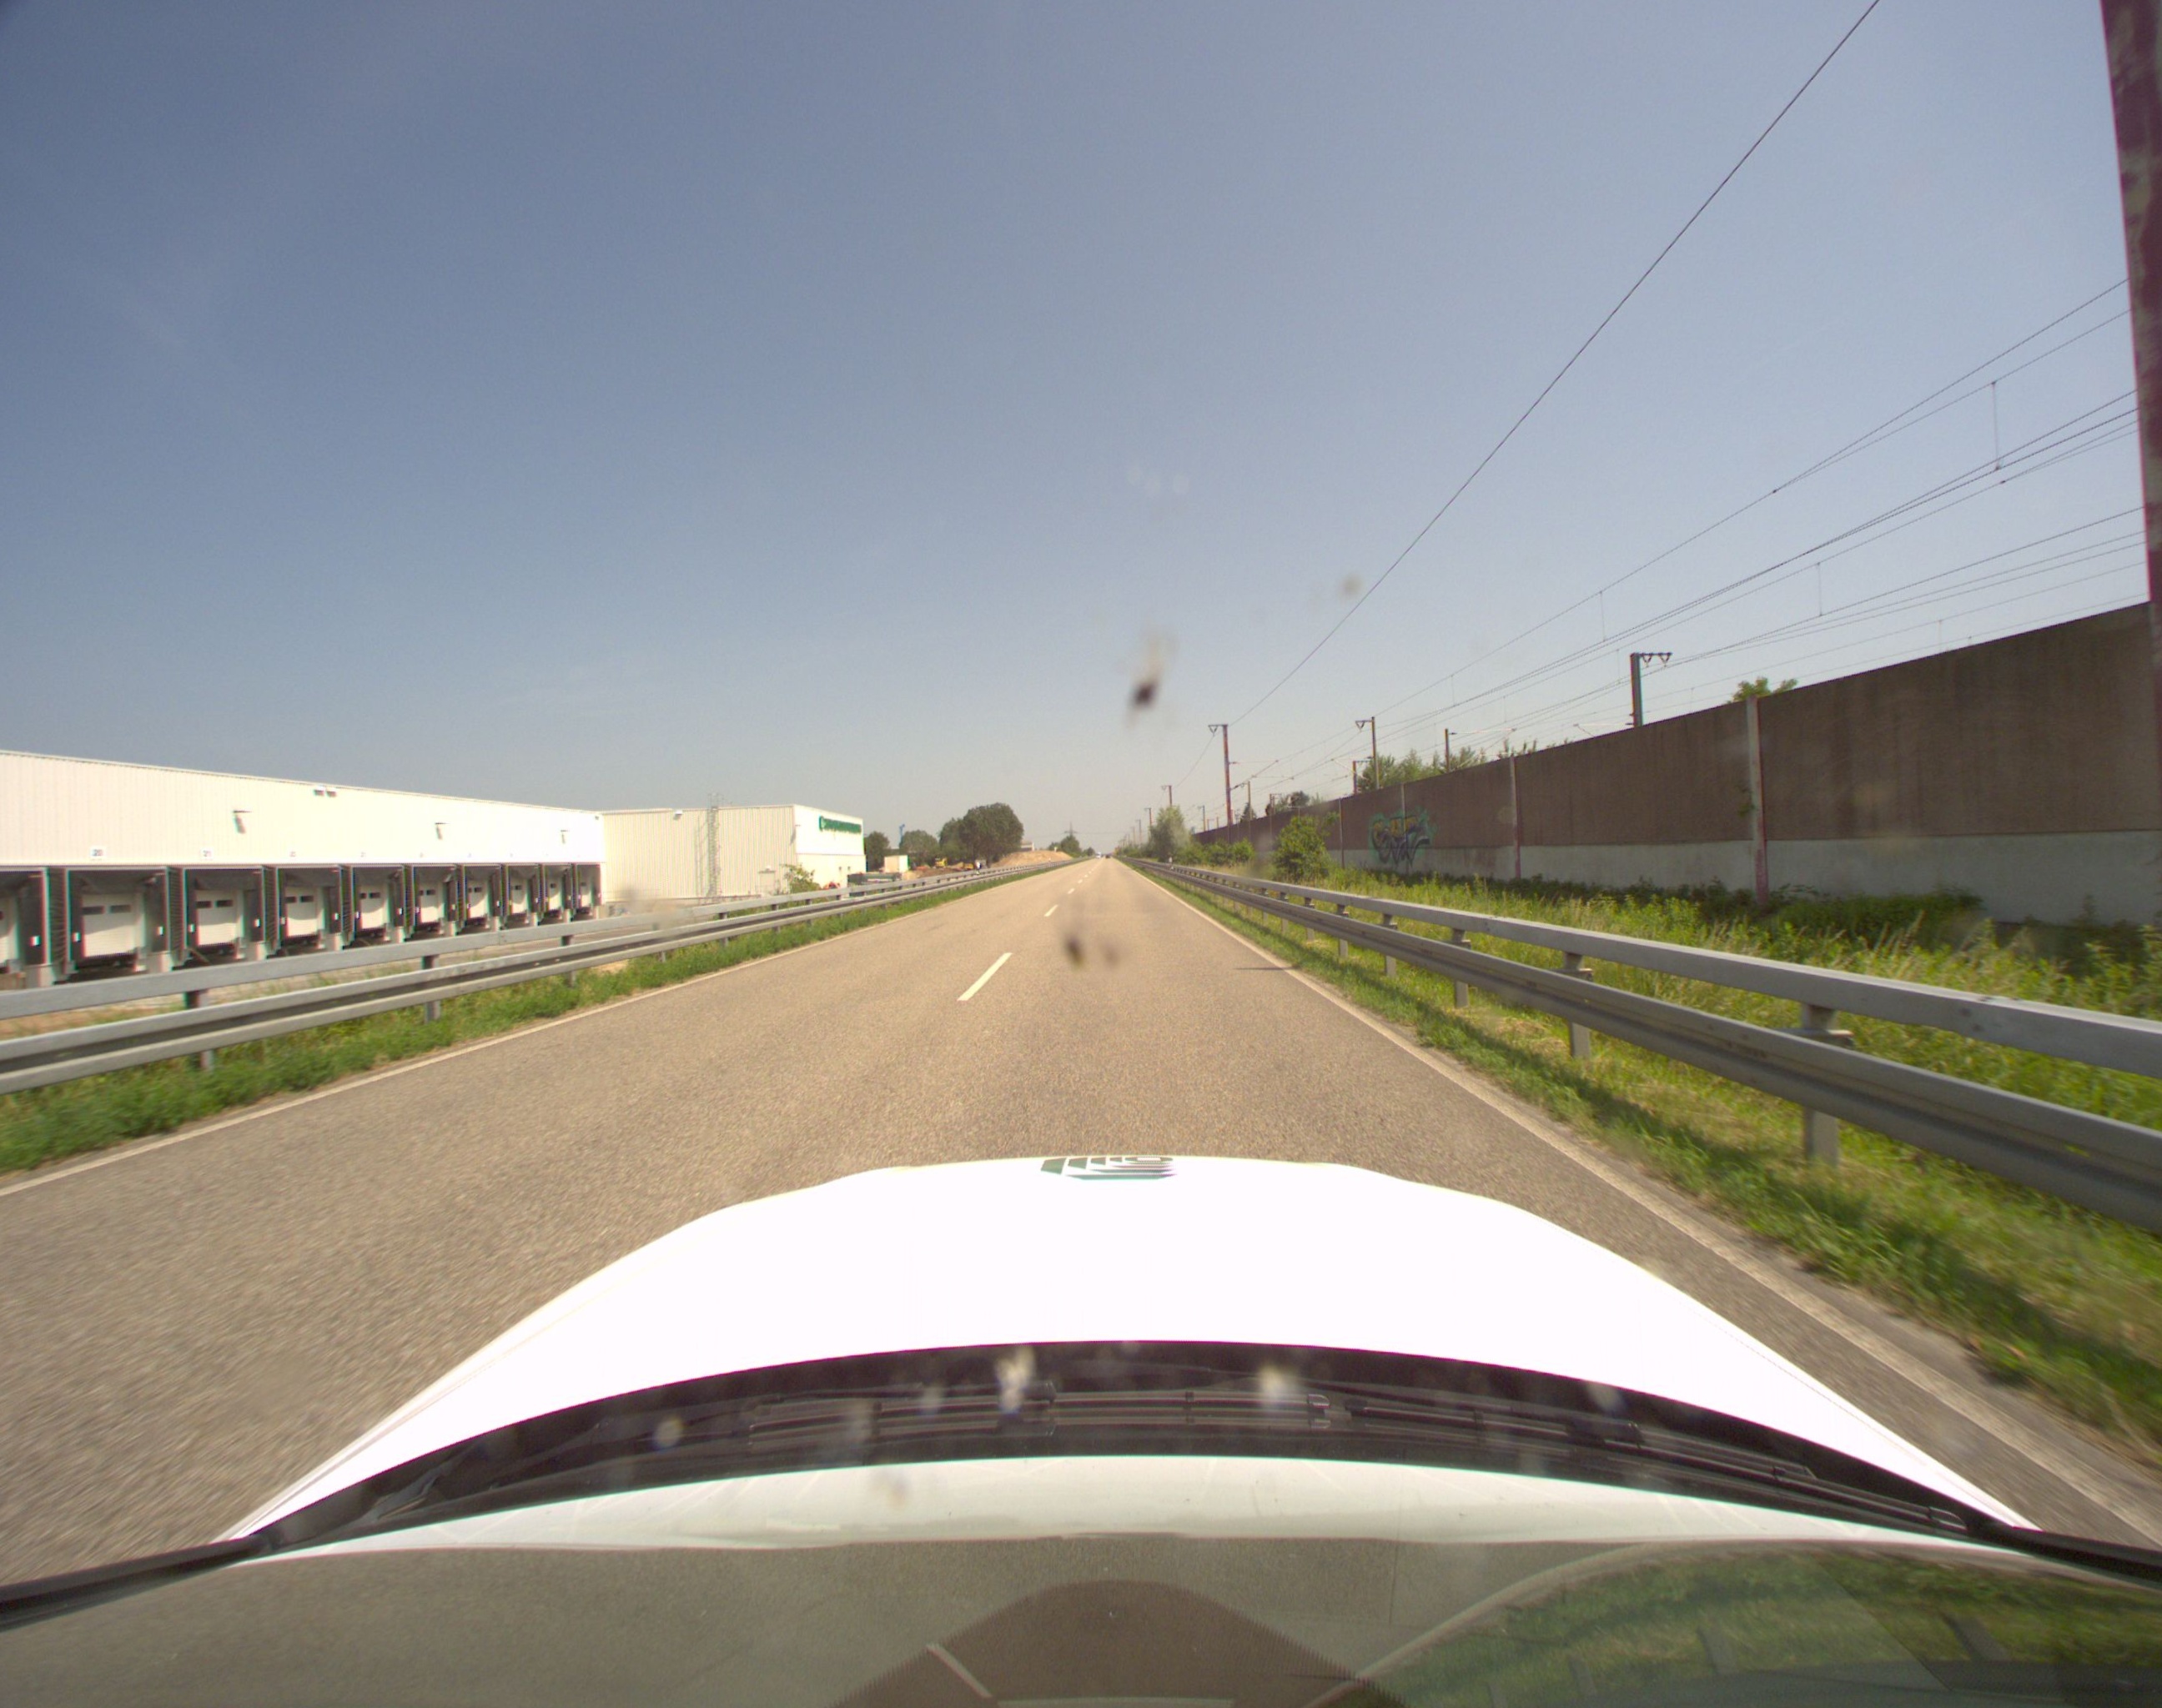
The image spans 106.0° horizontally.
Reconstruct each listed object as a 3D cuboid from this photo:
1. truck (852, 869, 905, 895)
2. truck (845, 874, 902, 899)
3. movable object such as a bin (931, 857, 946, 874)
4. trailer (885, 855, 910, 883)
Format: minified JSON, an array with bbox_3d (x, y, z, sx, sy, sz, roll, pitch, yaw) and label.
[{"bbox_3d":[-21.099,2.861,85.074,5.033,2.537,2.271,-1,-1,-3],"label":"truck"},{"bbox_3d":[-20.839,3.237,81.843,4.990,2.333,2.233,-2,0,1],"label":"truck"},{"bbox_3d":[-33.339,2.632,190.004,2.627,3.652,5.429,-4,0,-17],"label":"movable object such as a bin"},{"bbox_3d":[-31.222,2.492,138.808,2.672,4.332,7.946,-2,0,-2],"label":"trailer"}]
